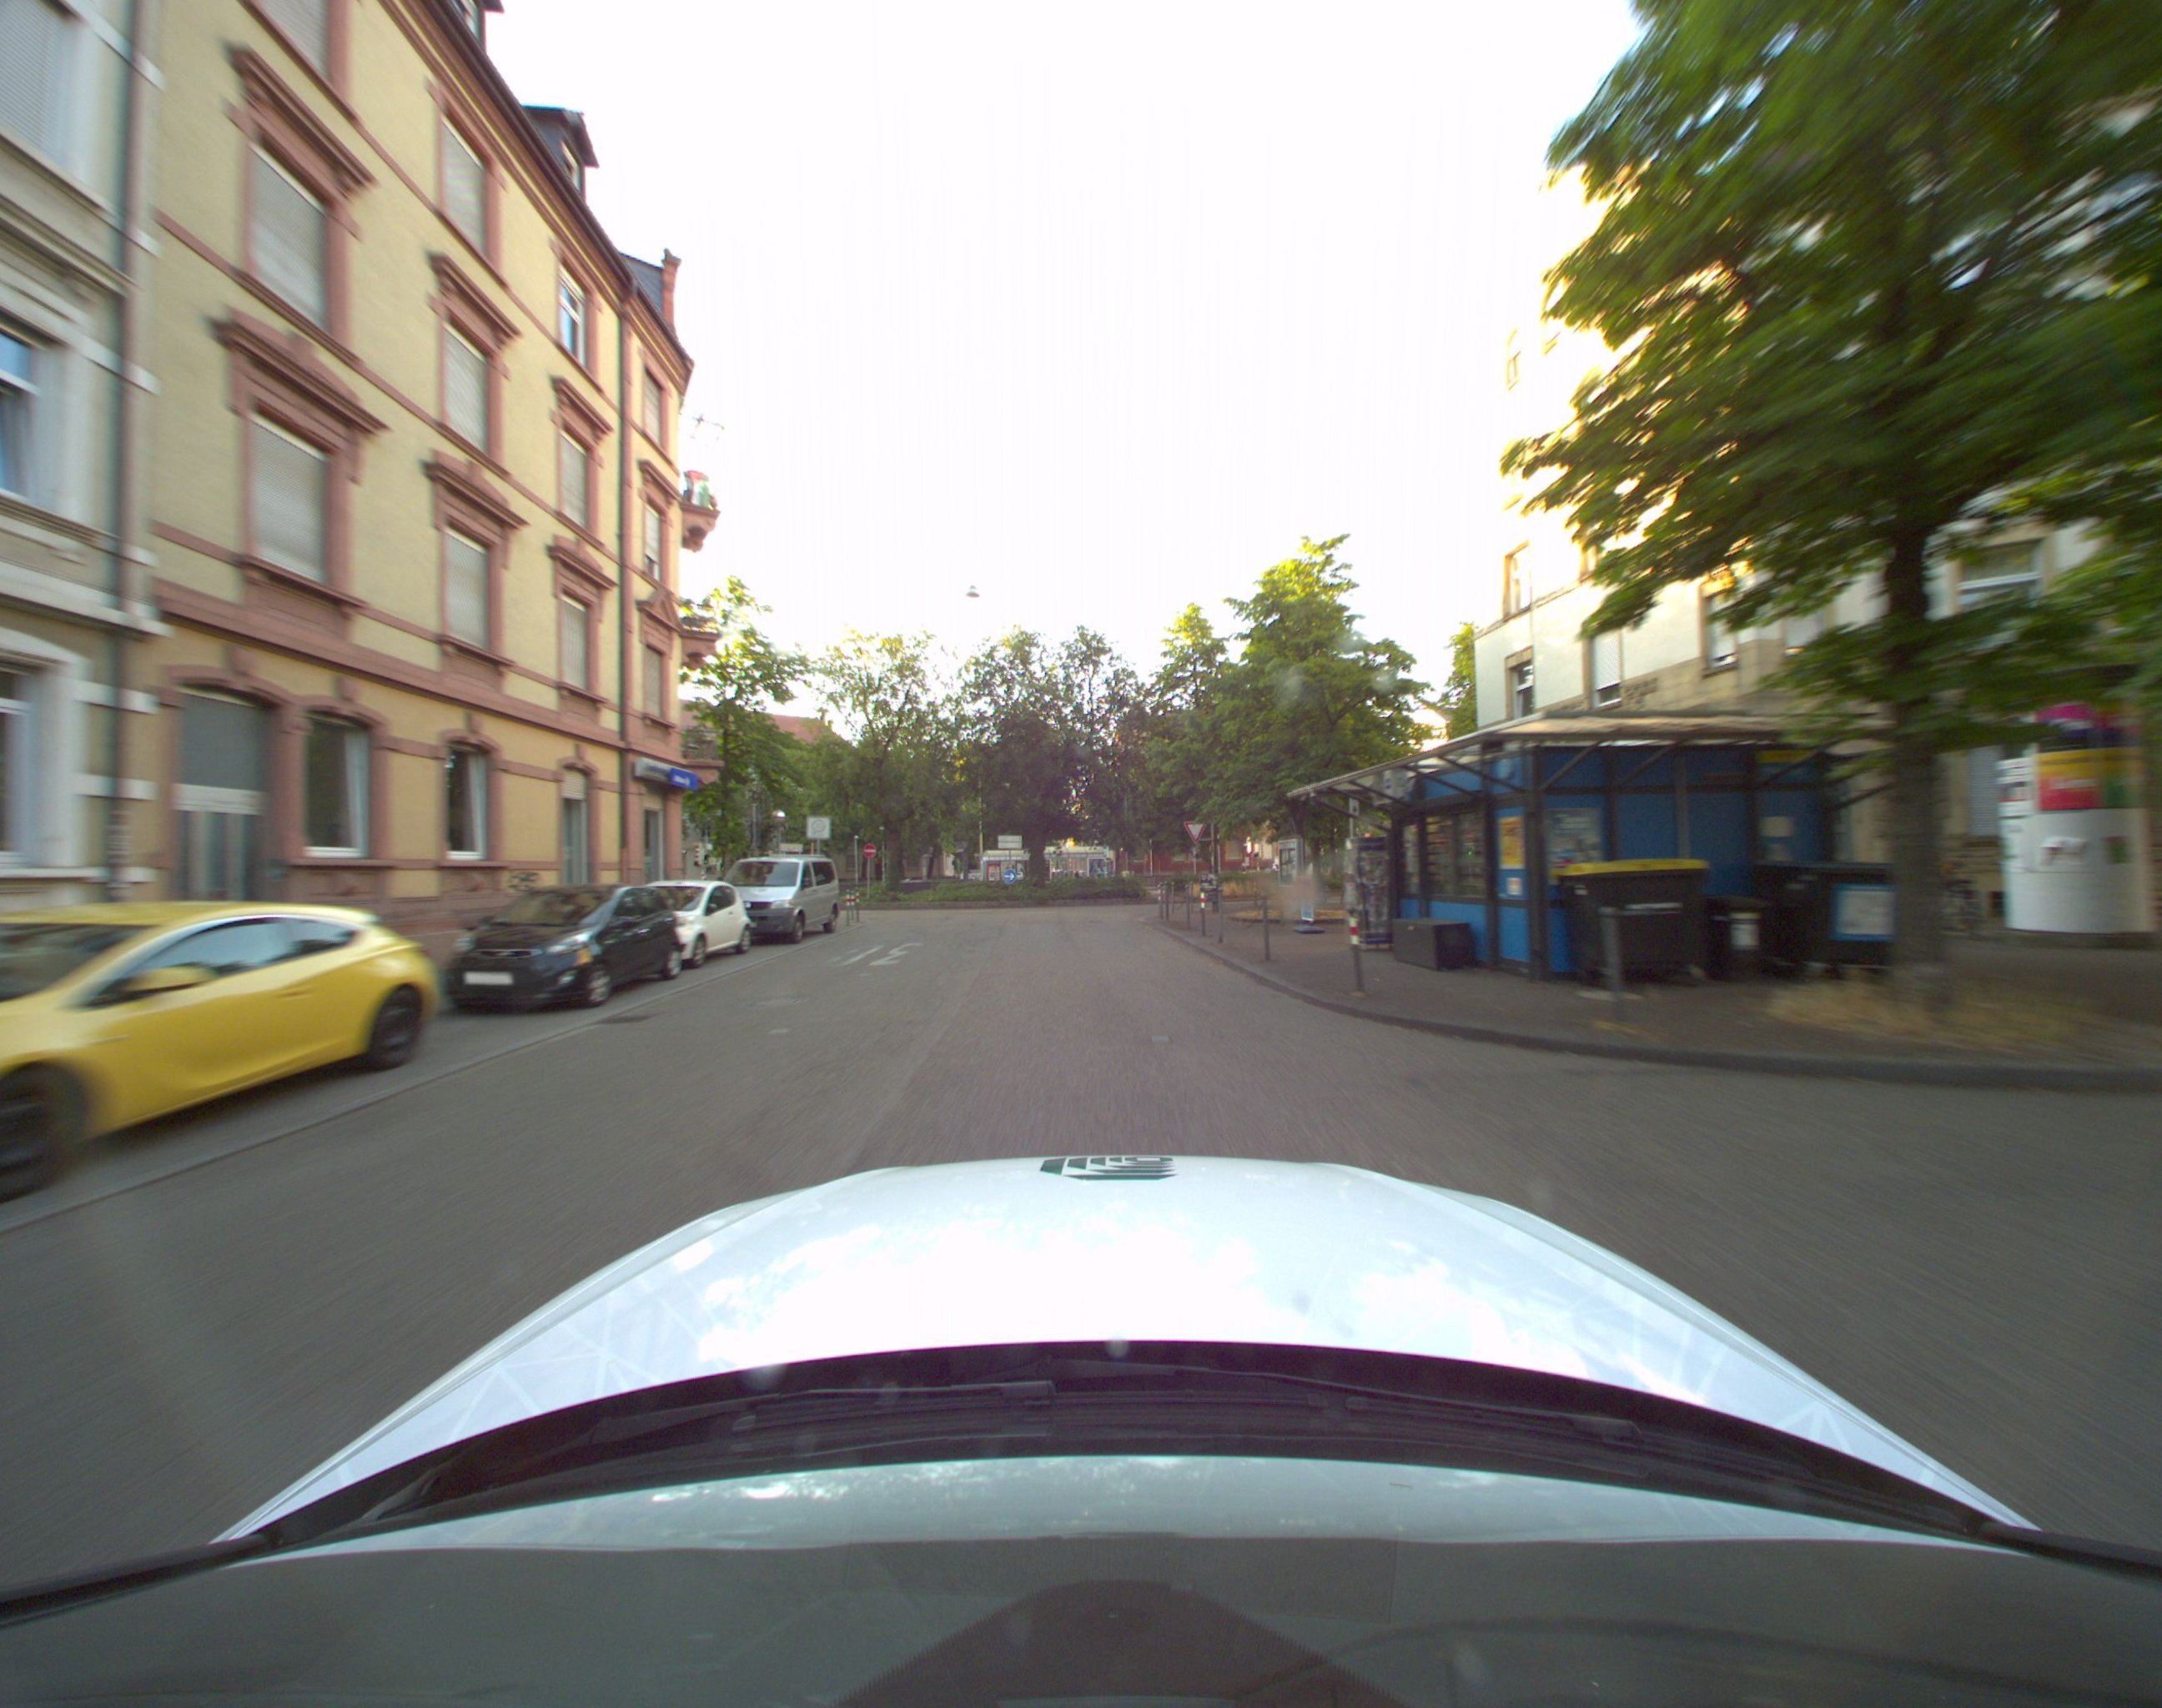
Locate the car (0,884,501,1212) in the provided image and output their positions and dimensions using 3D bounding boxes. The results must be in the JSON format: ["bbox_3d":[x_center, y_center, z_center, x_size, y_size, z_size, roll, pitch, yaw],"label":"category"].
[{"bbox_3d":[-6.427,1.028,5.540,1.836,1.526,4.792,1,-1,-6],"label":"car"}]

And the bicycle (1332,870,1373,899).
[{"bbox_3d":[10.033,1.141,30.163,0.433,1.039,1.594,-1,-2,-24],"label":"bicycle"}]

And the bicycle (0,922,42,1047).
[{"bbox_3d":[-9.747,1.151,6.502,0.661,1.070,1.831,-2,-1,-5],"label":"bicycle"}]

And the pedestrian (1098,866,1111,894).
[{"bbox_3d":[1.240,1.335,42.619,0.614,1.431,0.655,-1,-1,-2],"label":"pedestrian"}]

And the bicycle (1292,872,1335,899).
[{"bbox_3d":[10.104,1.353,35.328,1.840,1.070,0.702,-1,-1,-30],"label":"bicycle"}]

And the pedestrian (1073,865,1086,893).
[{"bbox_3d":[-0.079,1.283,42.239,0.614,1.431,0.655,-1,-1,-2],"label":"pedestrian"}]

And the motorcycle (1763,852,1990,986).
[{"bbox_3d":[9.580,0.726,9.941,0.865,1.453,1.880,-2,-1,-2],"label":"motorcycle"}]

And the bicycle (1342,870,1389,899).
[{"bbox_3d":[10.481,1.129,30.075,0.433,1.039,1.883,-1,-1,-24],"label":"bicycle"}]

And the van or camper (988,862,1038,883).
[{"bbox_3d":[-10.242,2.798,121.708,7.360,3.083,2.666,0,-2,-8],"label":"van or camper"}]

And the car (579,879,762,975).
[{"bbox_3d":[-7.303,1.221,14.908,1.681,1.491,3.608,0,-1,-4],"label":"car"}]

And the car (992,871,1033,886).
[{"bbox_3d":[-8.363,2.961,99.063,4.947,1.704,1.994,0,-2,-8],"label":"car"}]

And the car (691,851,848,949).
[{"bbox_3d":[-7.294,1.016,19.707,2.036,2.057,4.999,0,-1,-3],"label":"car"}]

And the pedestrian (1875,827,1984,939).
[{"bbox_3d":[14.228,0.482,13.702,0.967,1.789,1.012,-3,-2,32],"label":"pedestrian"}]

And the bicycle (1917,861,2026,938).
[{"bbox_3d":[14.743,0.723,13.544,0.627,1.188,1.926,-3,-2,30],"label":"bicycle"}]

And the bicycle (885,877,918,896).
[{"bbox_3d":[-10.631,1.937,48.235,1.858,1.051,0.542,-1,-1,-25],"label":"bicycle"}]

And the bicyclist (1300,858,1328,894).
[{"bbox_3d":[10.104,0.956,35.339,0.922,1.502,0.702,-1,-1,-30],"label":"bicyclist"}]

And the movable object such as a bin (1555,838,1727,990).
[{"bbox_3d":[5.971,0.624,8.749,1.216,1.475,0.767,-4,-1,5],"label":"movable object such as a bin"}]

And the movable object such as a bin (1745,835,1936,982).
[{"bbox_3d":[8.246,0.565,8.900,1.275,1.475,0.821,2,0,5],"label":"movable object such as a bin"}]

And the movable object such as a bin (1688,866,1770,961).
[{"bbox_3d":[7.109,0.640,8.943,0.478,1.001,0.487,-2,-1,-3],"label":"movable object such as a bin"}]

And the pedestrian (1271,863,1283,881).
[{"bbox_3d":[17.402,1.602,72.336,0.856,1.526,0.720,-2,-2,35],"label":"pedestrian"}]

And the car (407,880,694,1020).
[{"bbox_3d":[-6.787,1.119,10.951,1.727,1.491,3.733,0,-1,-7],"label":"car"}]
